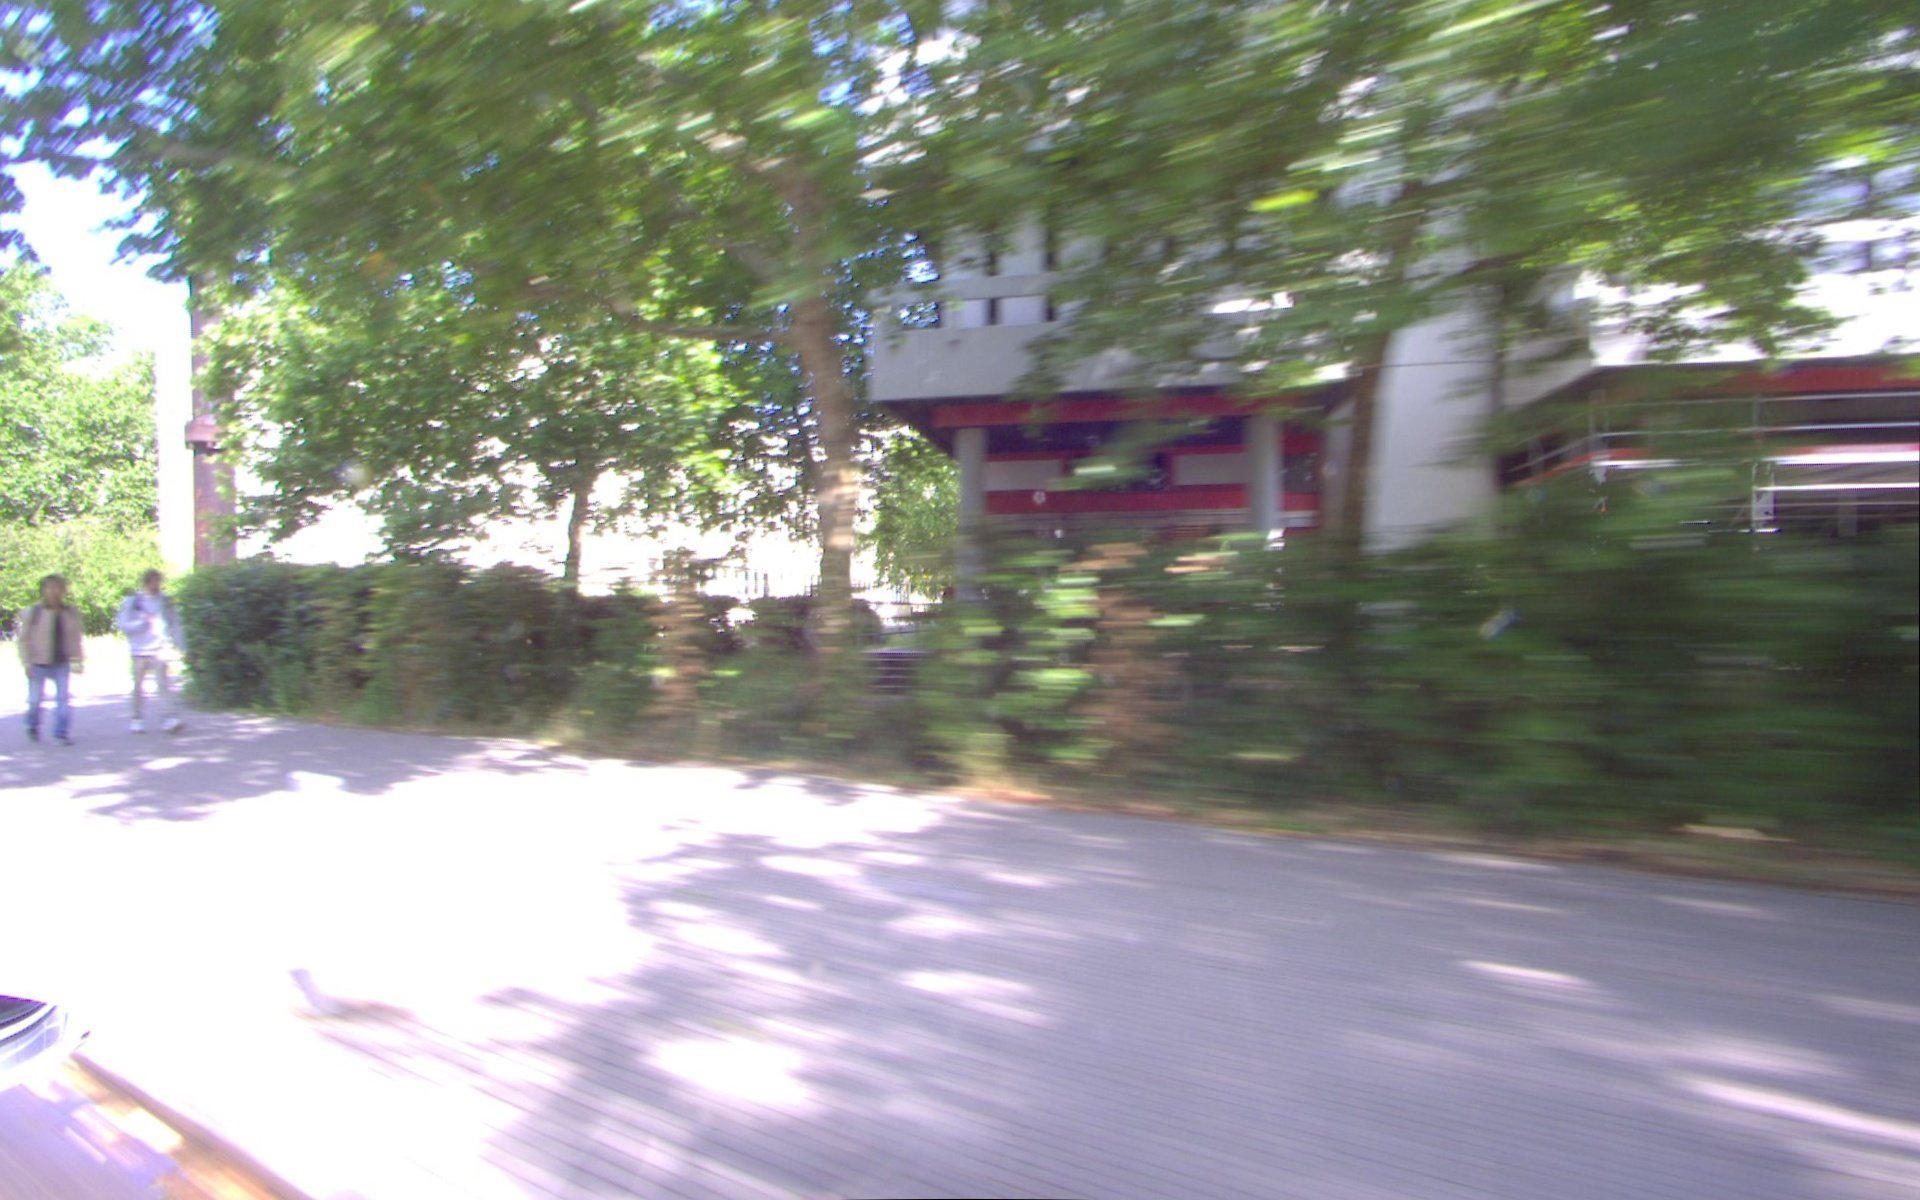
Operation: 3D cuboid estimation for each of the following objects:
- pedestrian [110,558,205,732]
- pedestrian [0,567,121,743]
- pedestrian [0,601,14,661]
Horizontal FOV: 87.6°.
[{"bbox_3d":[-9.142,0.496,11.408,0.782,1.897,0.669,0,0,37],"label":"pedestrian"},{"bbox_3d":[-9.593,0.566,10.660,0.829,1.778,0.819,0,0,33],"label":"pedestrian"},{"bbox_3d":[-28.840,0.924,29.872,0.621,1.778,0.817,0,0,39],"label":"pedestrian"}]
